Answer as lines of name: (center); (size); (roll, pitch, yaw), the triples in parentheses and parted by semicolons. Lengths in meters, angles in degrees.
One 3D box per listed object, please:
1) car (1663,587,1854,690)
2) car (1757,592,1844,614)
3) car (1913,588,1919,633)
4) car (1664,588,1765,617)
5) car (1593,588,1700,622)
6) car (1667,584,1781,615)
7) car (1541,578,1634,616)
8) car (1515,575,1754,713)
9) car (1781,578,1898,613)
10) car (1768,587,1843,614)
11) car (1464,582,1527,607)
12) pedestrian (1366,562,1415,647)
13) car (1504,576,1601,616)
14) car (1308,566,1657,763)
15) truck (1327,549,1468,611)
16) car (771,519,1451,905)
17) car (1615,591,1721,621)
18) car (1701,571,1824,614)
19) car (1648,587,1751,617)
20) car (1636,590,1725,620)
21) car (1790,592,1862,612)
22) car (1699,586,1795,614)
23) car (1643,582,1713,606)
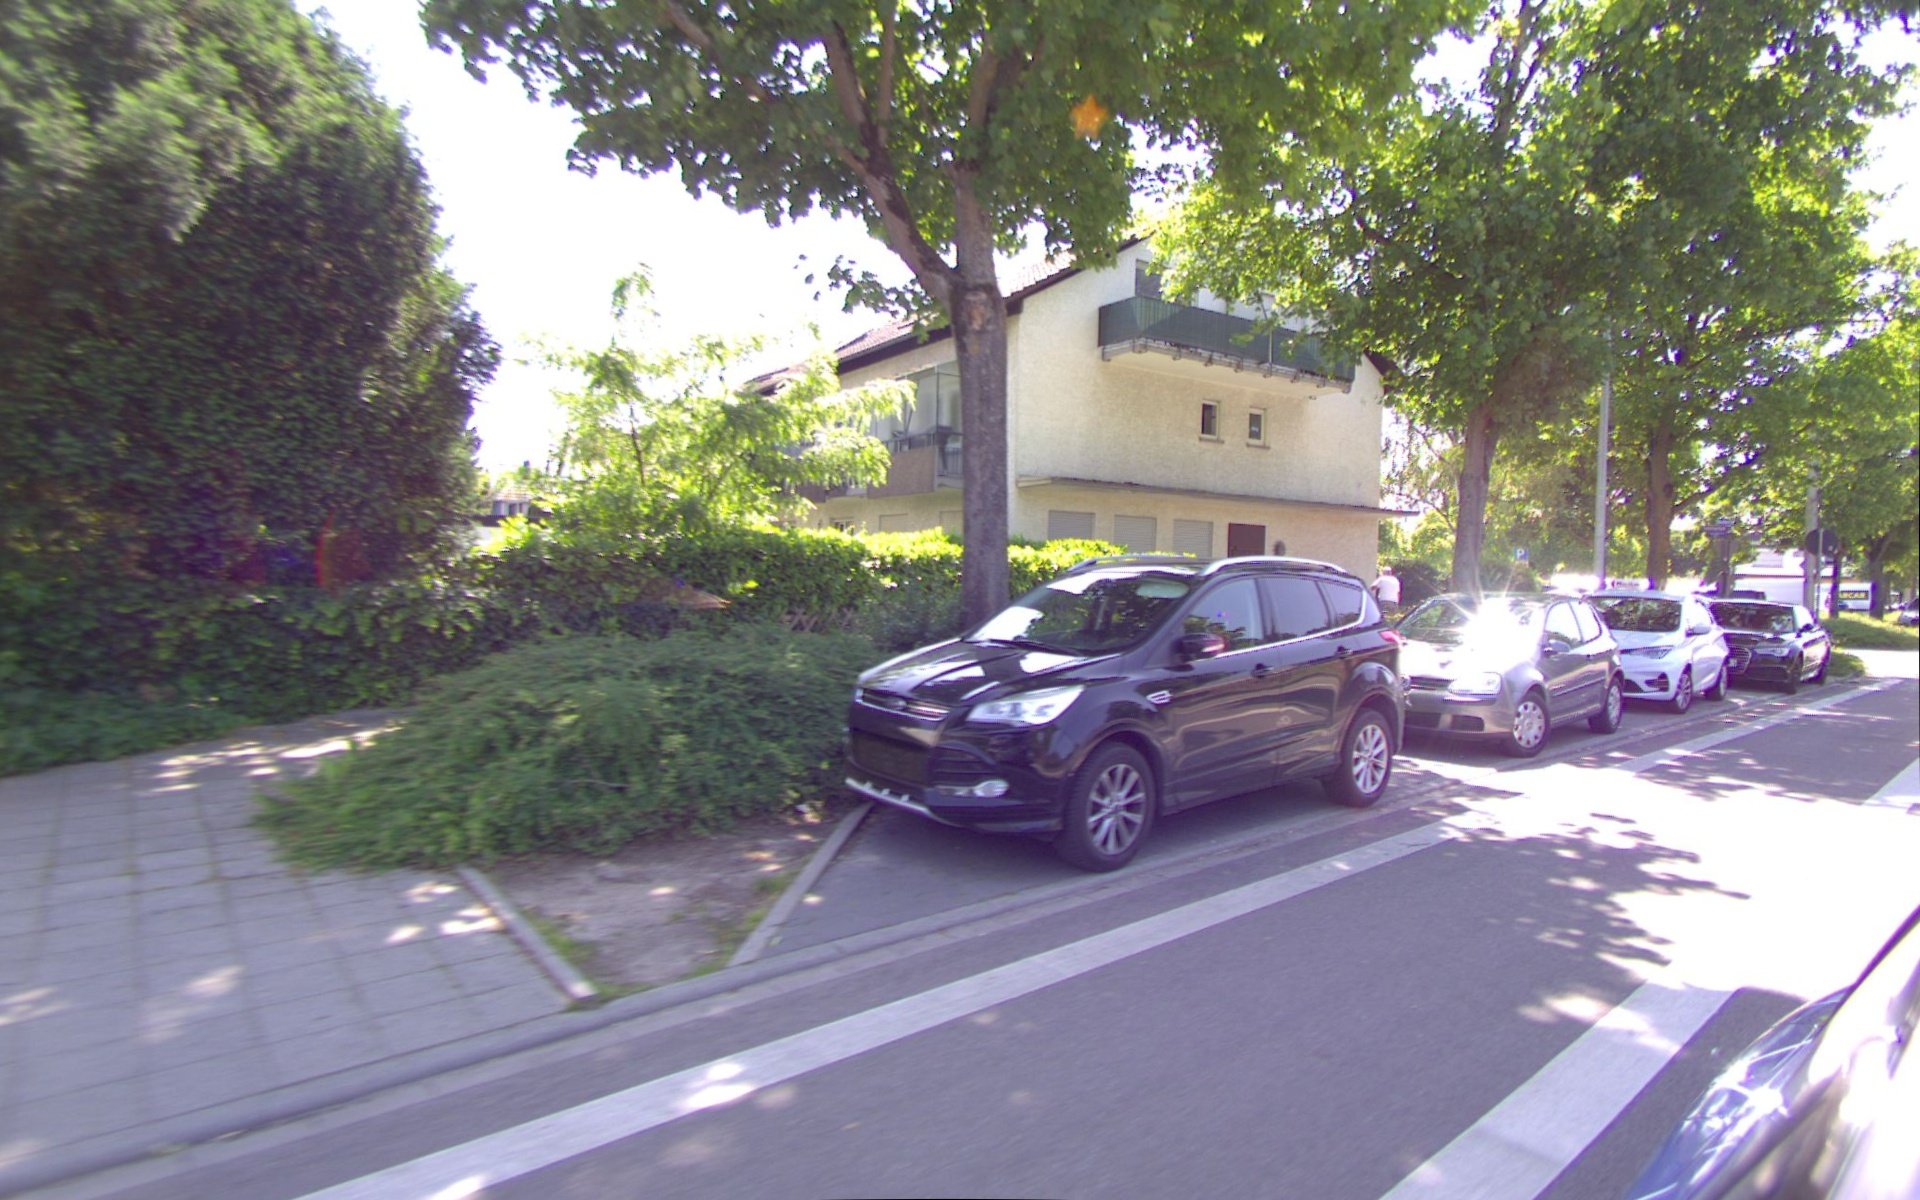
car: (14.173, 0.589, 17.847); (4.742, 1.453, 1.844); (0, 4, -43)
car: (56.198, 0.200, 67.730); (1.698, 1.424, 4.281); (0, 0, -42)
car: (37.743, 0.422, 38.413); (4.626, 1.652, 1.716); (-1, 5, -41)
car: (39.979, 0.134, 53.685); (1.739, 1.509, 4.027); (0, 0, -41)
car: (31.941, 0.215, 47.155); (1.740, 1.508, 3.865); (0, 0, -42)
car: (42.100, -0.026, 55.850); (1.919, 1.665, 4.702); (0, 0, -39)
car: (47.229, -0.277, 76.237); (2.057, 2.489, 5.506); (0, 3, -39)
car: (9.610, 0.513, 14.294); (4.135, 1.548, 1.844); (0, 4, -43)
car: (66.423, -0.350, 76.517); (2.221, 2.561, 6.358); (0, 0, -37)
car: (58.386, 0.027, 69.916); (1.922, 1.807, 3.781); (0, 0, -44)
car: (35.826, -0.400, 67.751); (1.651, 1.446, 3.345); (0, 3, -38)
pedestrian: (9.083, 0.087, 21.350); (0.747, 1.743, 0.623); (2, 1, 44)
car: (42.513, -0.332, 72.744); (2.057, 2.489, 5.506); (0, 3, -39)
car: (5.610, 0.522, 10.618); (4.280, 1.548, 1.844); (0, 4, -43)
truck: (24.803, -1.201, 57.680); (2.382, 3.122, 6.963); (0, 3, -41)
car: (1.238, 0.470, 6.748); (4.543, 1.727, 1.846); (0, 4, -39)
car: (34.134, 0.285, 48.881); (1.738, 1.375, 3.868); (0, 0, -39)
car: (48.066, -0.432, 60.718); (2.057, 2.490, 5.502); (0, 0, -39)
car: (38.063, 0.100, 52.147); (1.739, 1.509, 4.027); (0, 0, -41)
car: (36.103, 0.218, 50.764); (1.652, 1.446, 3.342); (0, 0, -39)
car: (64.098, 0.146, 74.931); (1.698, 1.491, 3.891); (0, 0, -42)
car: (44.326, 0.016, 57.074); (1.739, 1.509, 4.027); (0, 0, -41)
car: (66.041, -0.544, 93.146); (1.875, 1.923, 4.929); (0, 3, -40)
